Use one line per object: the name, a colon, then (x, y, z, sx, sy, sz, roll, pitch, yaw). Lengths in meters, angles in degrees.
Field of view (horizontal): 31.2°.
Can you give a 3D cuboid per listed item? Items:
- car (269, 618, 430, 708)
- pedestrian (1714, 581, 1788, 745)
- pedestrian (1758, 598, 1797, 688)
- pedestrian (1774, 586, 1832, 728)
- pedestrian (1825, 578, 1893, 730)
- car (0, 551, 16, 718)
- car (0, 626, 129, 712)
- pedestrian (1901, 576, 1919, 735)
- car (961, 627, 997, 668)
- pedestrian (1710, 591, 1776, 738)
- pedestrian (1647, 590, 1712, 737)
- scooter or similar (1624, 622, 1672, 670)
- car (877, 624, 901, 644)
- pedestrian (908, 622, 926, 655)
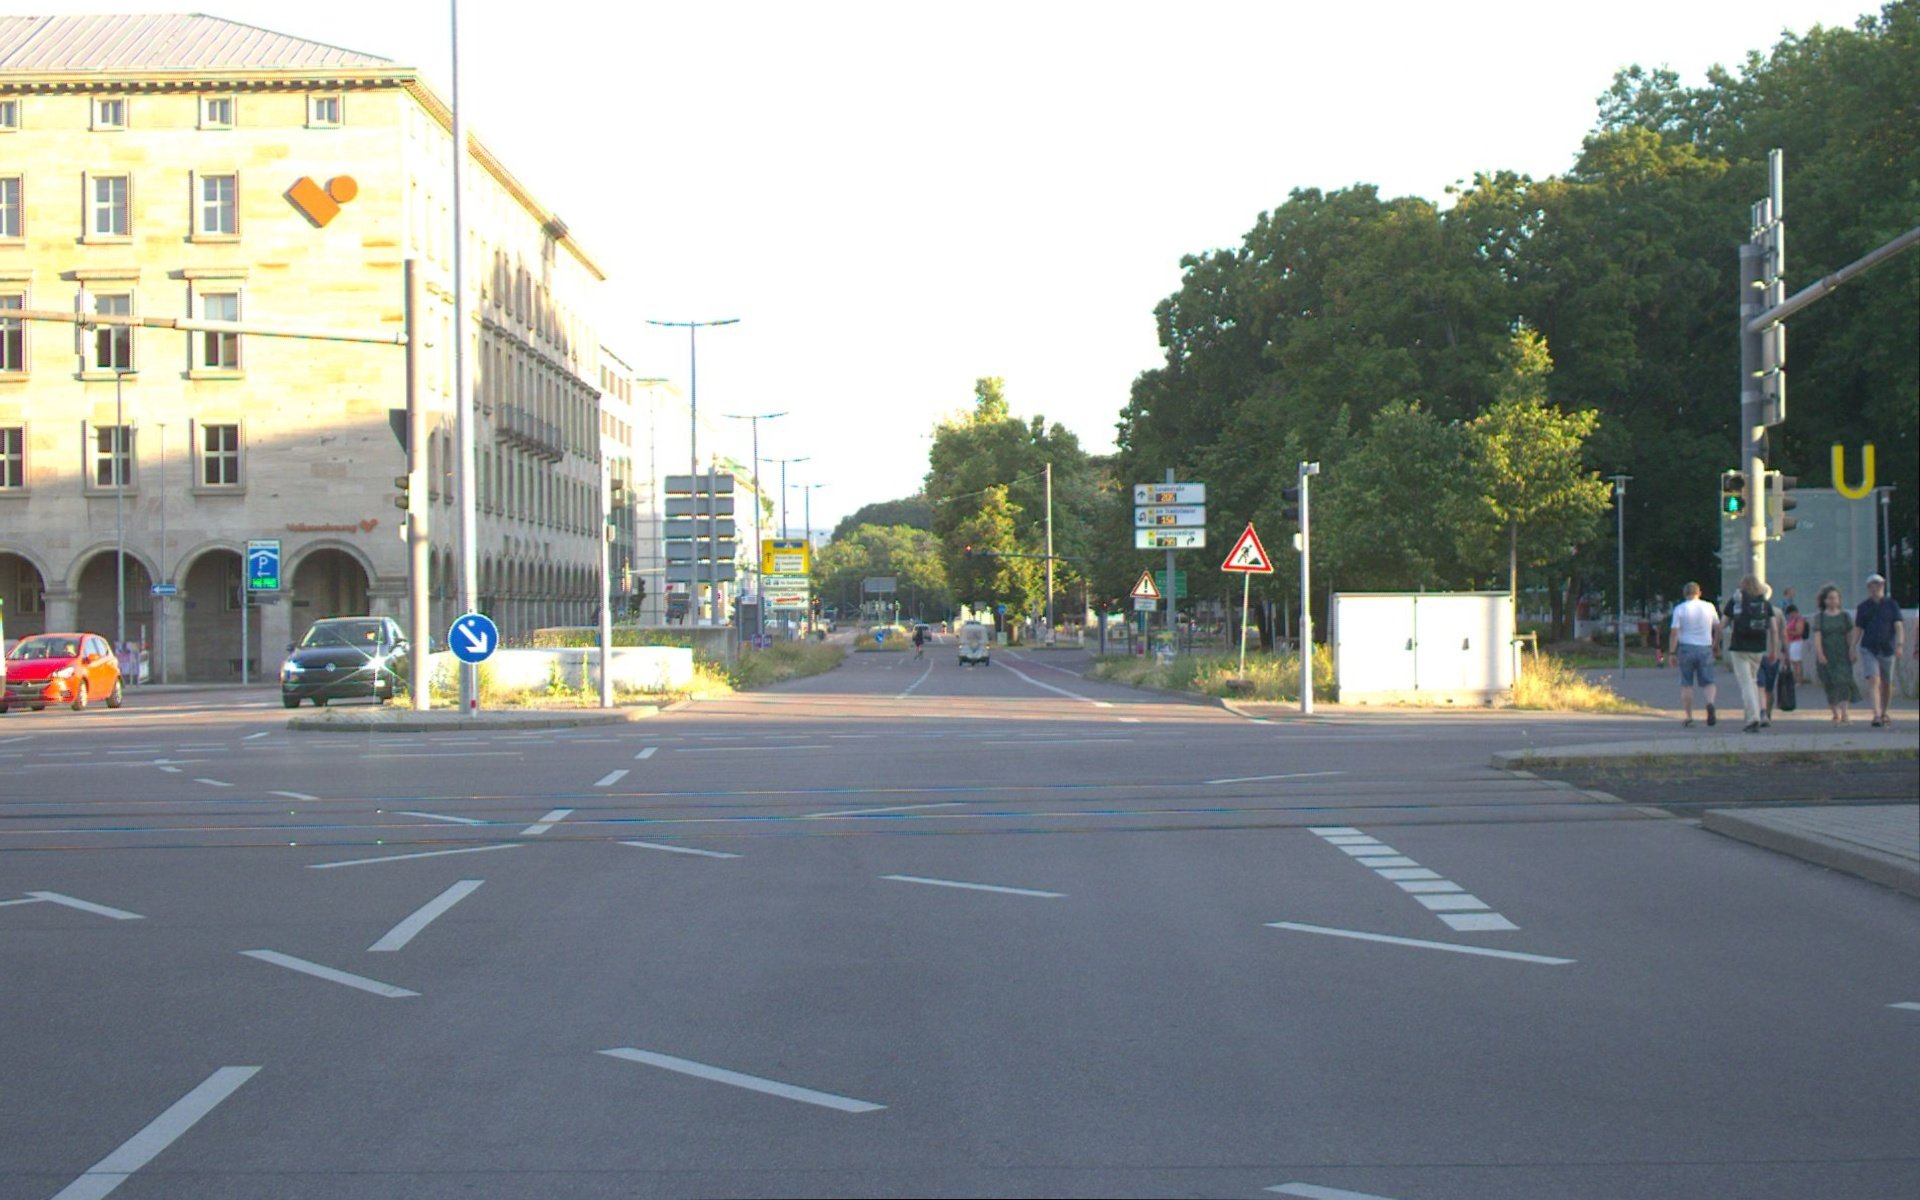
car: (-9.887, 1.005, 55.966, 1.823, 1.337, 4.000, -1, 1, 1)
pedestrian: (8.452, 0.666, 36.765, 0.711, 1.719, 0.914, 0, 0, 10)
pedestrian: (16.850, 0.891, 70.900, 0.666, 1.836, 0.713, -1, 0, 5)
pedestrian: (9.965, 0.666, 40.638, 0.560, 1.649, 0.901, 0, 0, 20)
pedestrian: (10.562, 0.625, 40.394, 0.680, 1.751, 0.901, 0, 0, 20)
car: (-17.065, 0.592, 54.881, 2.279, 2.766, 6.083, -1, 0, 0)
car: (-16.976, 1.274, 64.673, 1.738, 1.482, 4.000, -1, 1, -1)
pedestrian: (10.690, 0.598, 37.683, 0.711, 1.719, 0.914, 0, 0, 16)
car: (0.819, 2.038, 148.107, 1.483, 1.690, 2.974, -1, 0, -1)
pedestrian: (9.304, 0.759, 40.840, 0.711, 1.719, 0.668, 0, 0, 17)
pedestrian: (8.555, 0.748, 40.854, 0.711, 1.719, 0.668, 0, 0, 14)
scooter or similar: (18.086, 1.202, 90.400, 0.569, 1.199, 2.984, -1, 0, -2)
car: (-4.503, 2.147, 218.685, 1.370, 1.230, 3.045, -1, 1, 1)
pedestrian: (-2.219, 1.988, 177.986, 0.906, 1.665, 1.307, -1, 0, -2)
